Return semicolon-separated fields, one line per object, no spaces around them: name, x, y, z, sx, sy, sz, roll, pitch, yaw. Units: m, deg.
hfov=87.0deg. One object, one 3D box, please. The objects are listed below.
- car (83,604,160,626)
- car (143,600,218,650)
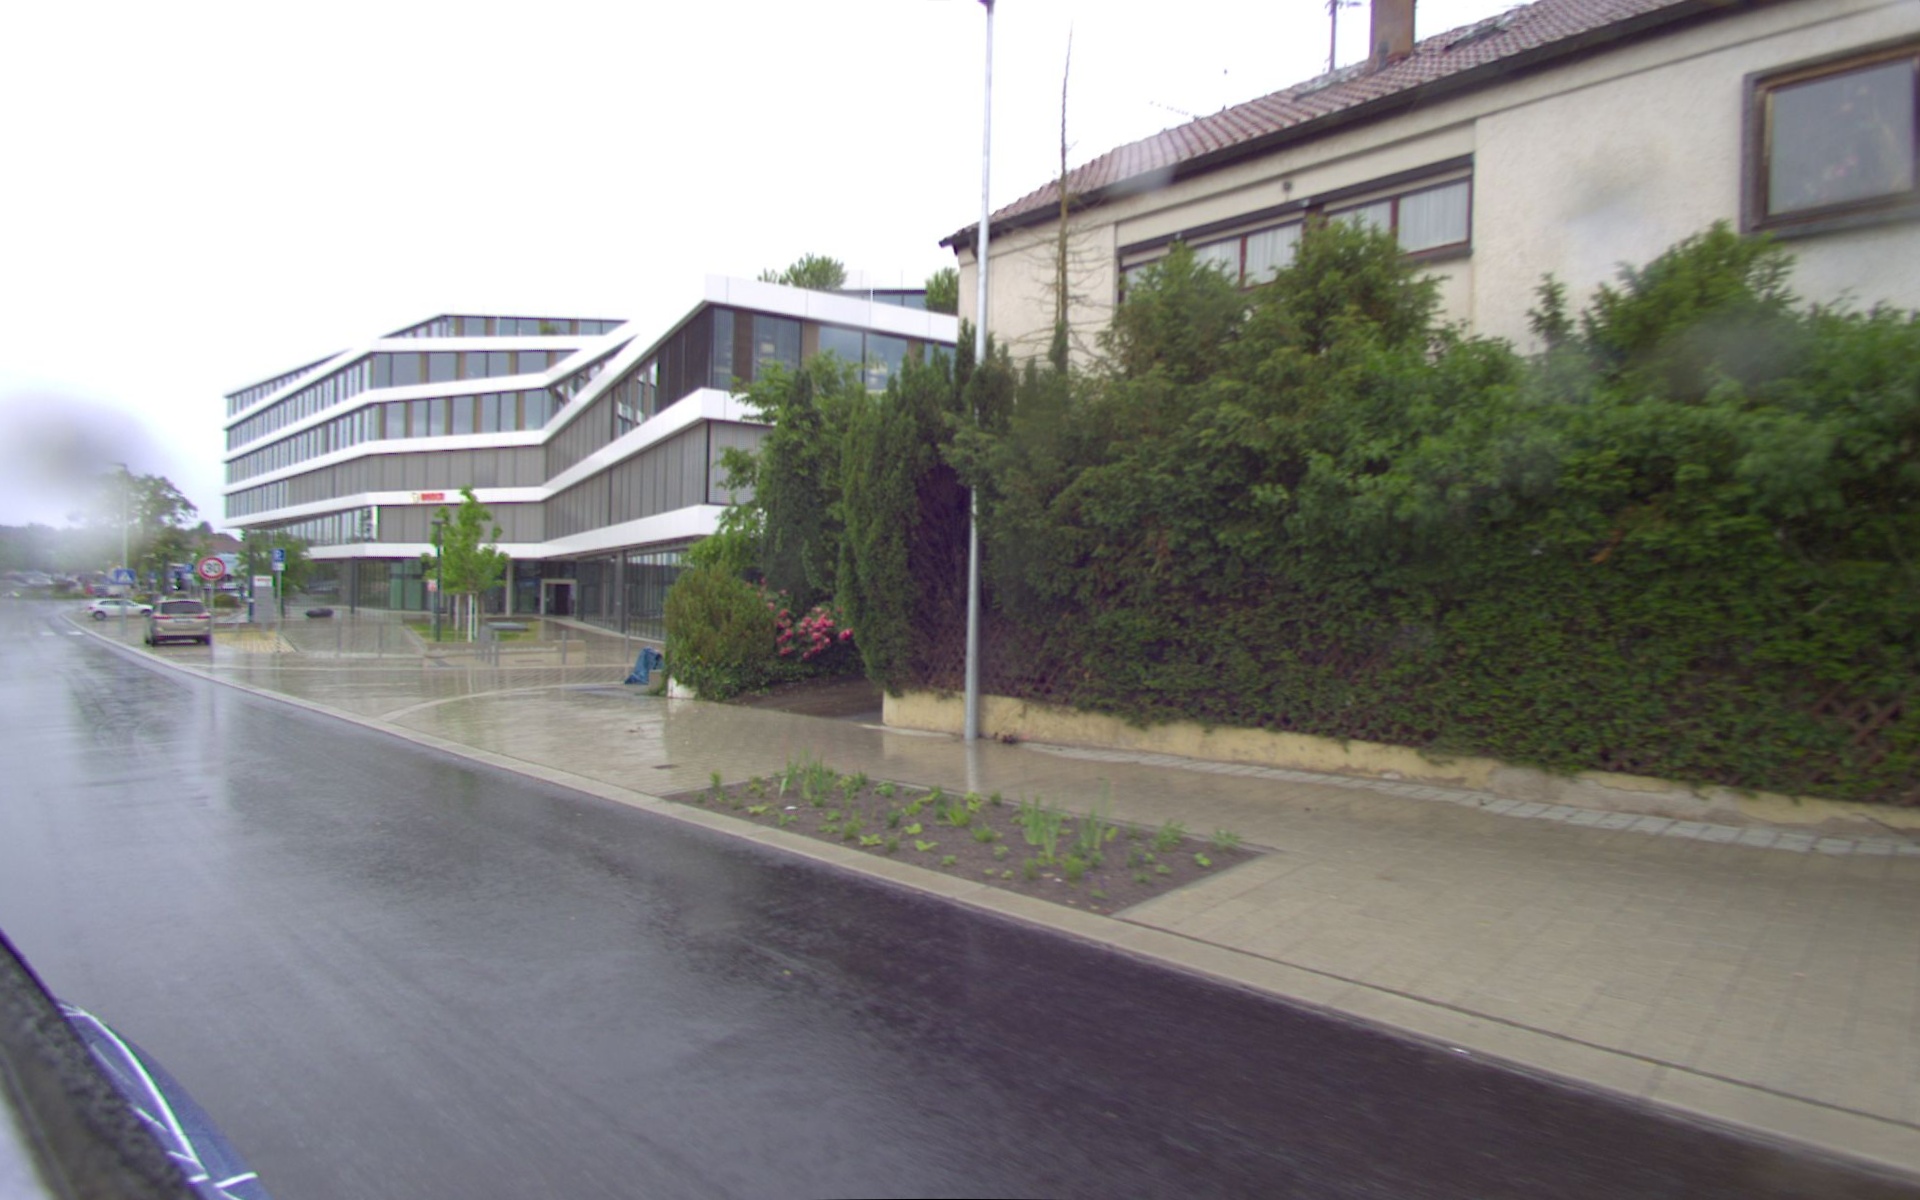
car;-58.990;1.020;71.255;4.105;1.430;2.004;-2;1;-40
car;-28.666;0.882;37.156;1.815;1.719;4.328;1;0;-42
